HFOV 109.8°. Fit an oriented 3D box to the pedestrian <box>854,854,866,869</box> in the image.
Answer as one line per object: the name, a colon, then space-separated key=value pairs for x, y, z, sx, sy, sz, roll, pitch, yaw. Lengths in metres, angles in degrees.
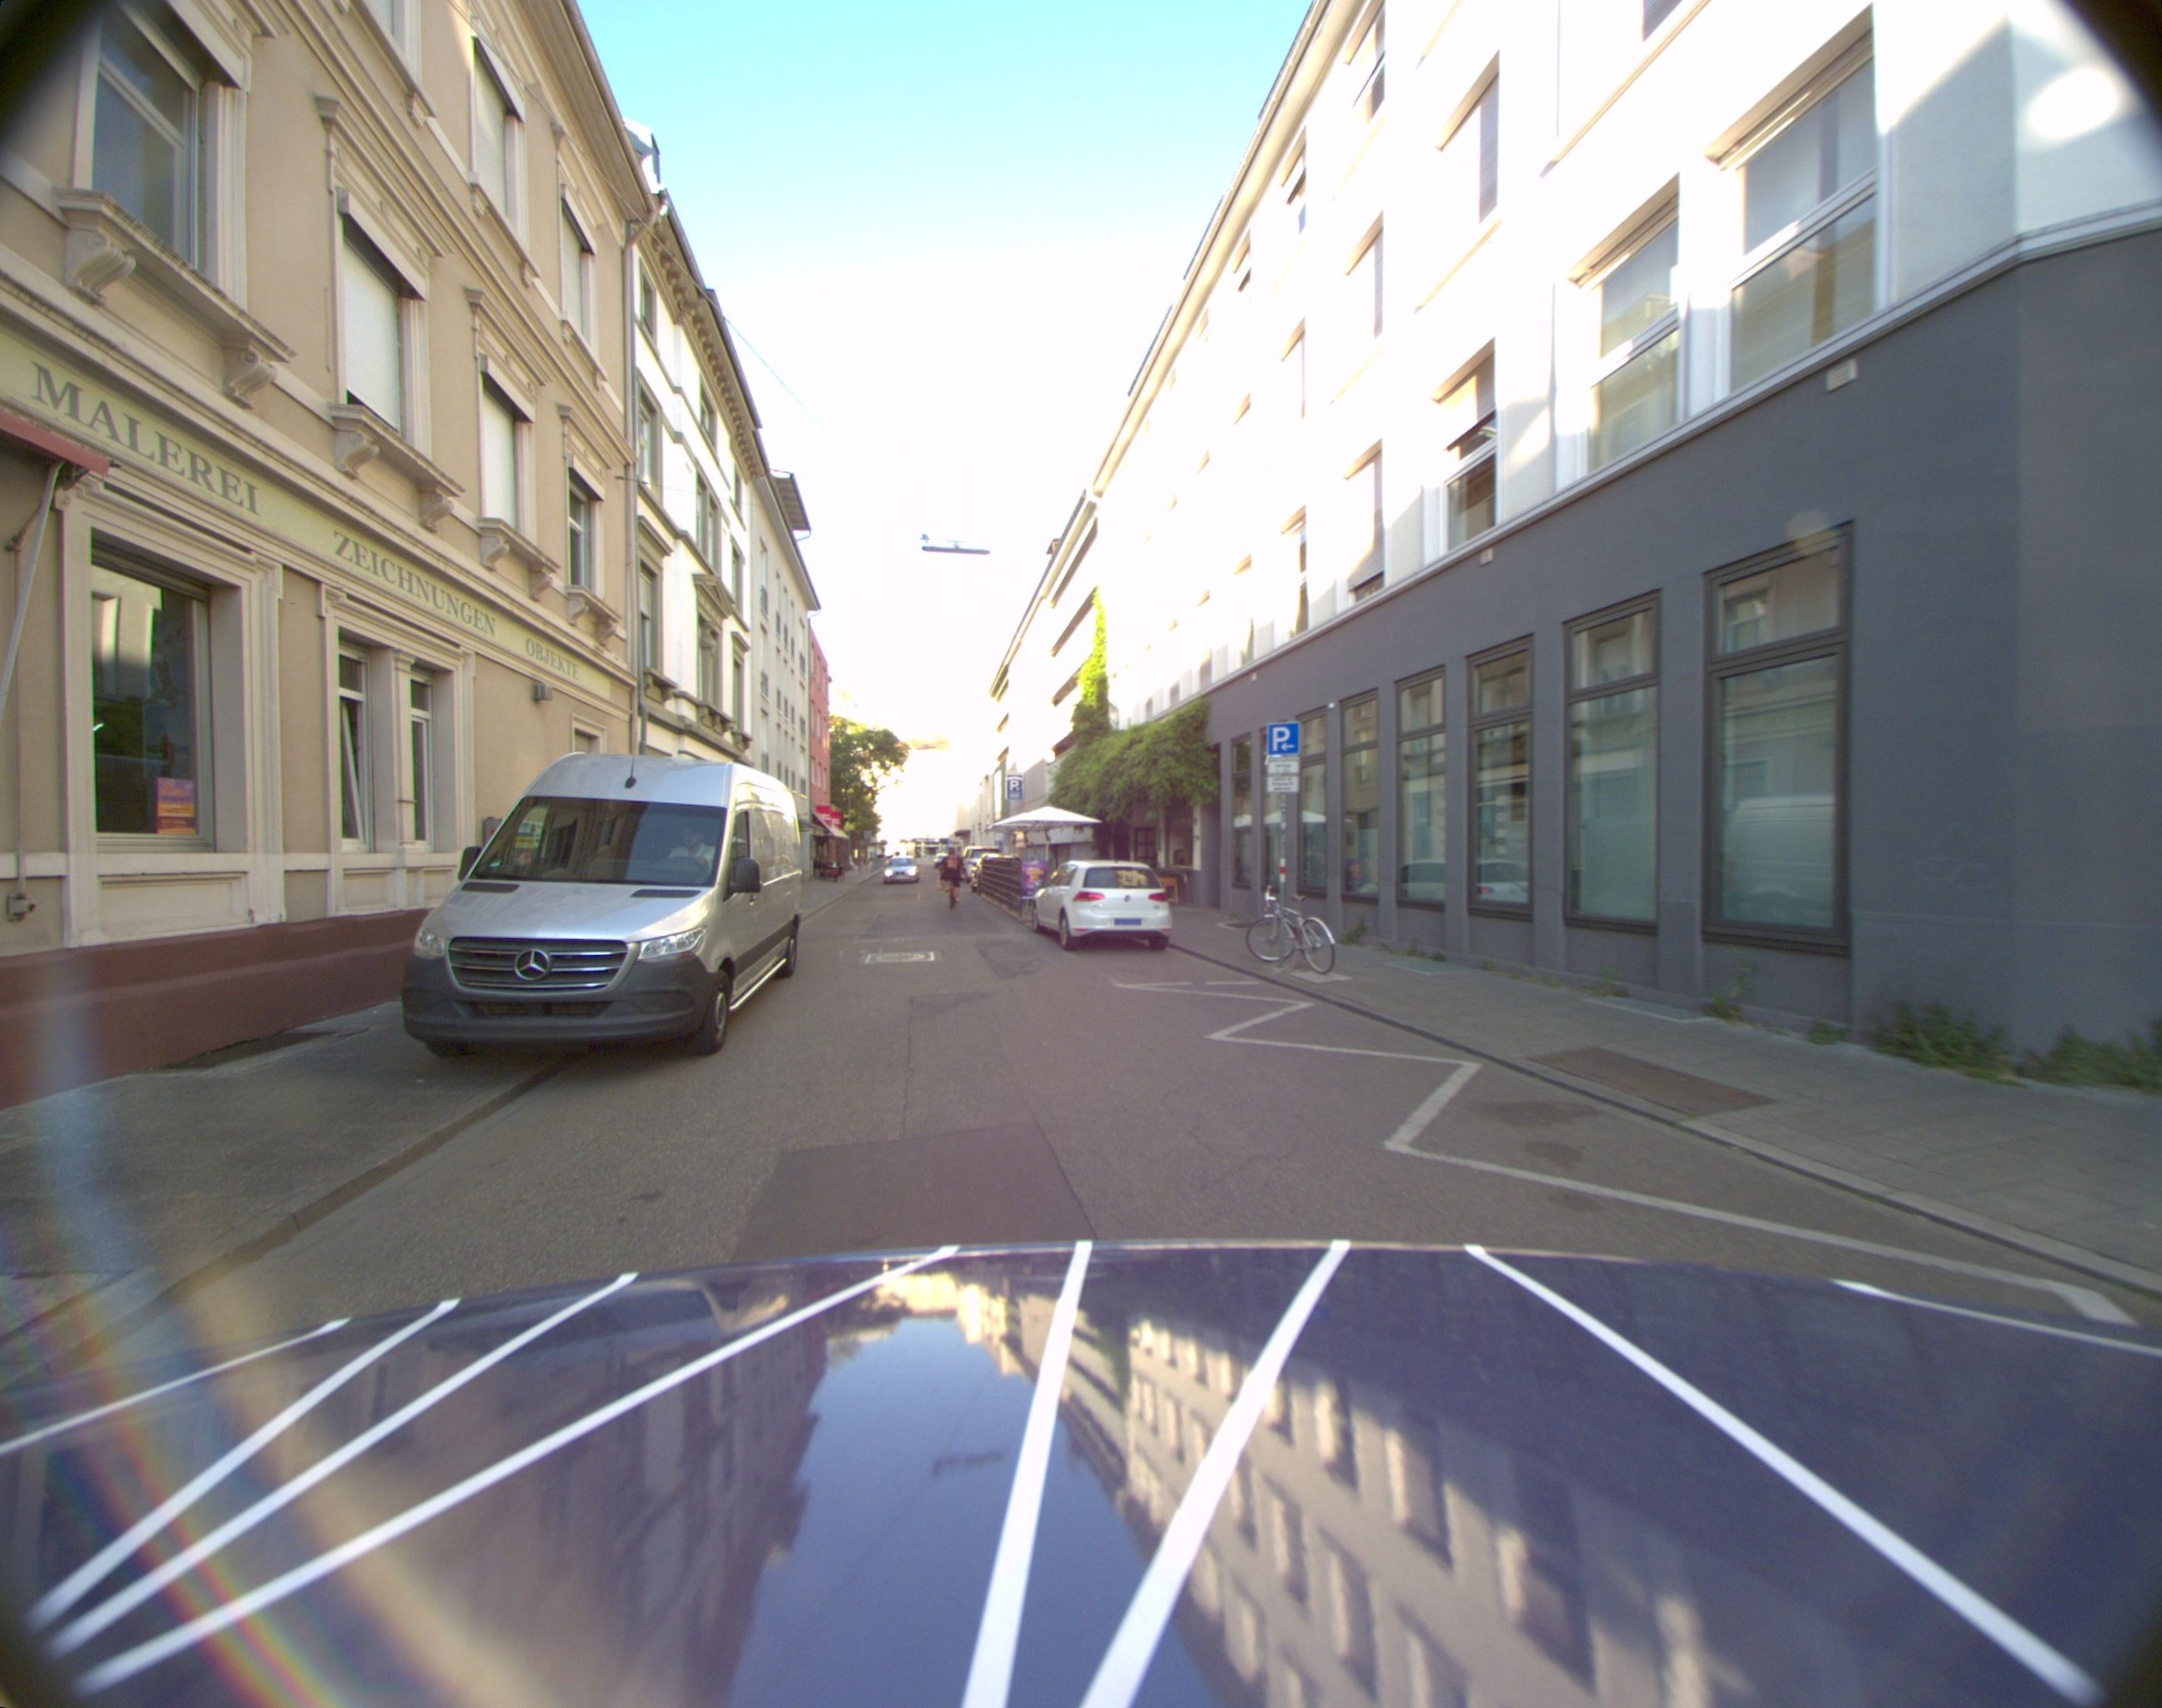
pedestrian: x=-19.331 y=0.654 z=66.405 sx=0.929 sy=1.242 sz=0.362 roll=1 pitch=1 yaw=-15

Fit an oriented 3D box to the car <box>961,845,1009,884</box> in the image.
car: x=-5.265 y=0.522 z=41.089 sx=2.001 sy=1.928 sz=4.844 roll=1 pitch=0 yaw=-14

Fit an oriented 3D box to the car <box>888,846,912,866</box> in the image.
car: x=-18.455 y=0.156 z=77.648 sx=2.000 sy=2.002 sz=3.996 roll=0 pitch=1 yaw=-8

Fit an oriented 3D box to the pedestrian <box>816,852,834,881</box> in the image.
pedestrian: x=-13.447 y=0.643 z=39.948 sx=0.828 sy=1.477 sz=0.660 roll=0 pitch=1 yaw=-13

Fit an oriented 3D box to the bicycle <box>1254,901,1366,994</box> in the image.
bicycle: x=2.732 y=1.085 z=9.237 sx=0.598 sy=0.900 sz=1.642 roll=-1 pitch=1 yaw=-11

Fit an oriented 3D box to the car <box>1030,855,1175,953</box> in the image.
car: x=0.227 y=0.762 z=13.567 sx=1.663 sy=1.406 sz=3.877 roll=0 pitch=1 yaw=-13

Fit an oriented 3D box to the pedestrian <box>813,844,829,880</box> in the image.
pedestrian: x=-13.377 y=0.416 z=39.092 sx=0.661 sy=1.782 sz=0.729 roll=3 pitch=0 yaw=-22

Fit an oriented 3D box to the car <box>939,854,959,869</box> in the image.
car: x=-13.557 y=0.746 z=78.124 sx=2.000 sy=1.409 sz=4.553 roll=1 pitch=1 yaw=-9

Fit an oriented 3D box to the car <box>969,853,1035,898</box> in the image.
car: x=-3.207 y=0.786 z=29.887 sx=1.888 sy=1.559 sz=4.764 roll=2 pitch=0 yaw=-14

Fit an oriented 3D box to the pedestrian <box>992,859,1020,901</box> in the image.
pedestrian: x=-2.365 y=0.810 z=23.932 sx=0.784 sy=1.279 sz=0.914 roll=0 pitch=1 yaw=-12

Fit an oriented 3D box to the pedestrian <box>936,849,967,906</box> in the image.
pedestrian: x=-3.665 y=0.640 z=21.461 sx=0.832 sy=1.536 sz=1.081 roll=-1 pitch=1 yaw=-11

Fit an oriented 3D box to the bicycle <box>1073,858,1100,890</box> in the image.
bicycle: x=0.187 y=0.726 z=28.438 sx=0.645 sy=1.153 sz=1.792 roll=-1 pitch=1 yaw=-11

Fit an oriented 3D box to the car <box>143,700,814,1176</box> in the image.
car: x=-4.199 y=0.403 z=7.124 sx=2.285 sy=2.425 sz=6.196 roll=-1 pitch=1 yaw=-11

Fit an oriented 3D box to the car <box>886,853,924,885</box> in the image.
car: x=-9.353 y=0.739 z=40.392 sx=1.790 sy=1.516 sz=3.995 roll=-2 pitch=1 yaw=-13

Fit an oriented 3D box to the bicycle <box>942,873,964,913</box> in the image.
bicycle: x=-3.607 y=1.080 z=21.393 sx=0.540 sy=1.002 sz=1.979 roll=-1 pitch=1 yaw=-11

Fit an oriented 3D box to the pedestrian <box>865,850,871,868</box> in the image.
pedestrian: x=-18.708 y=0.443 z=66.723 sx=0.438 sy=1.637 sz=0.557 roll=1 pitch=1 yaw=-5
